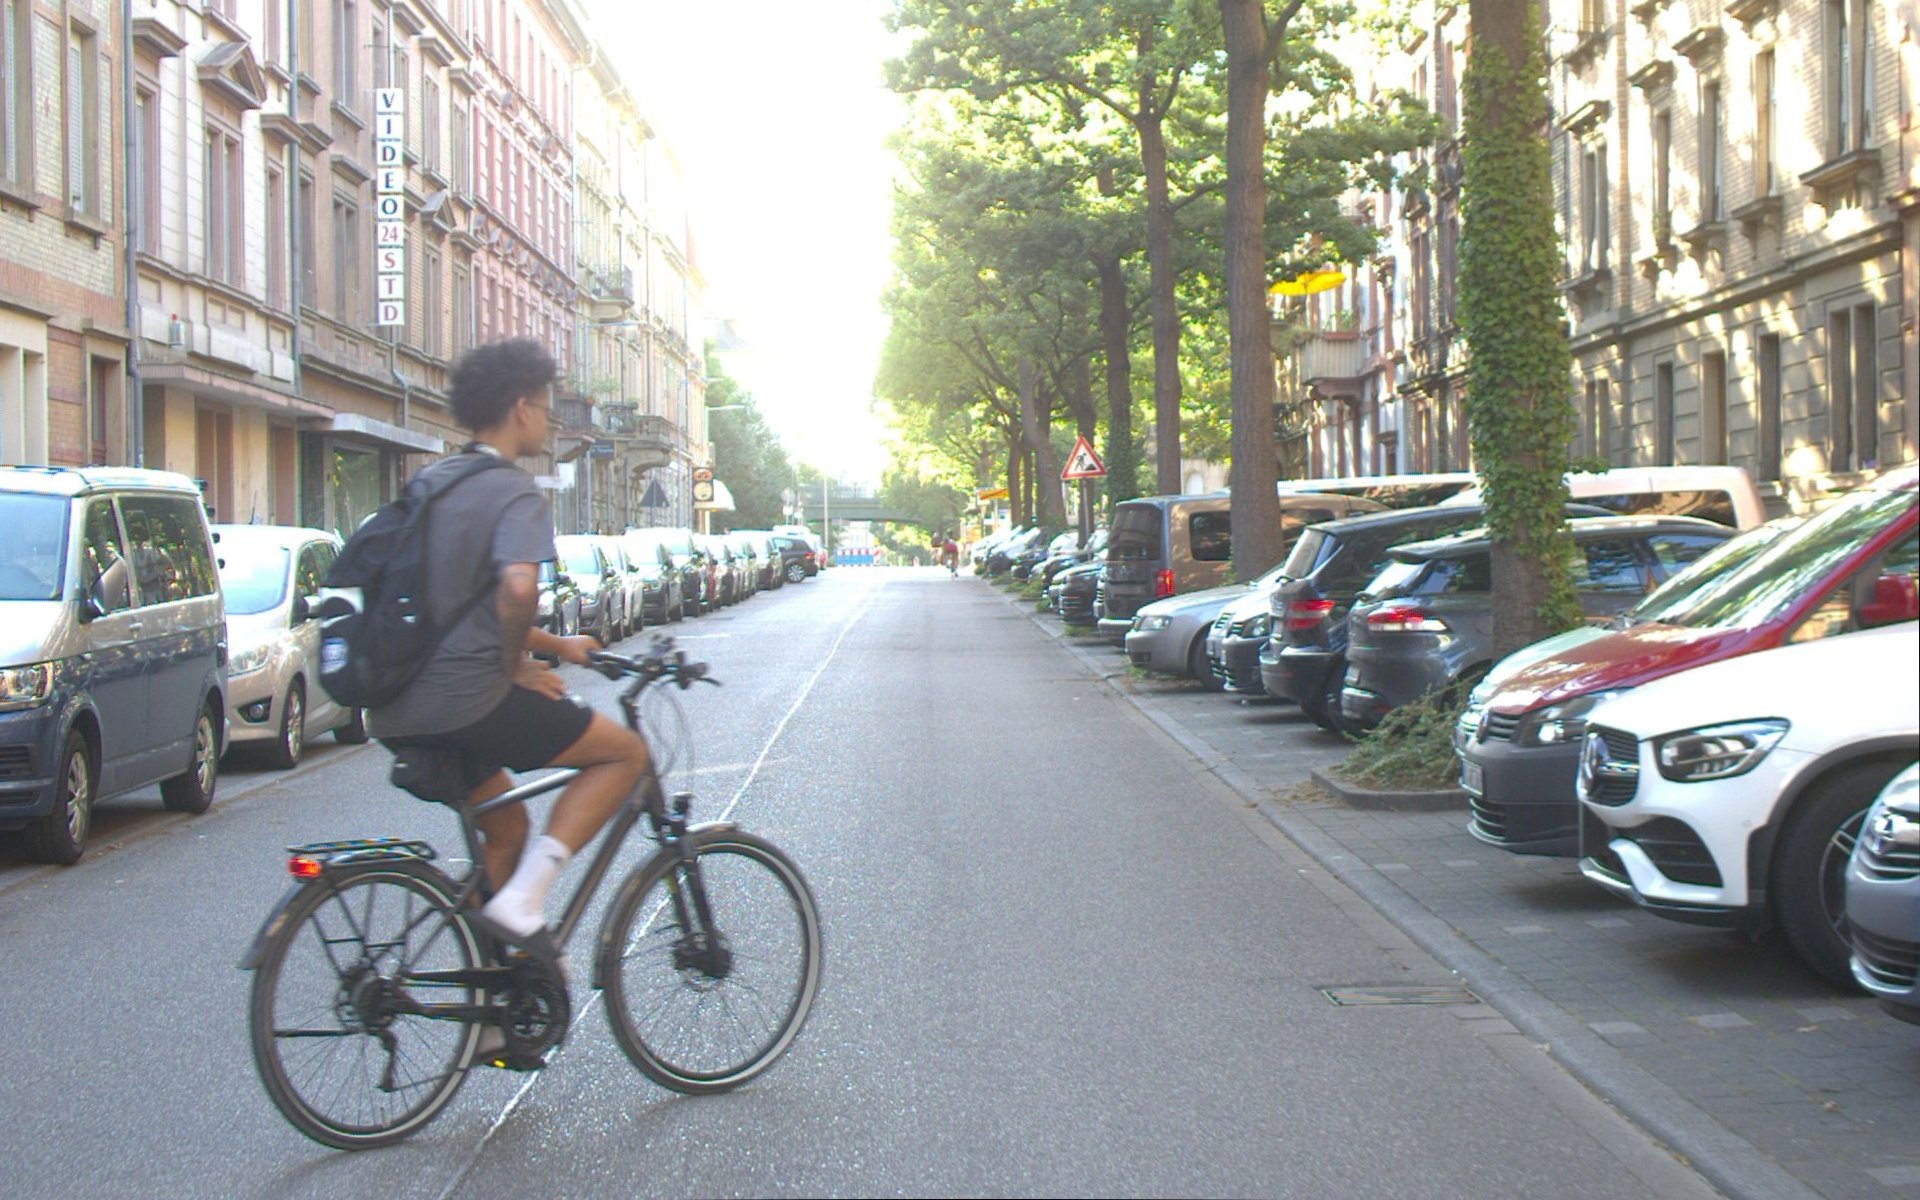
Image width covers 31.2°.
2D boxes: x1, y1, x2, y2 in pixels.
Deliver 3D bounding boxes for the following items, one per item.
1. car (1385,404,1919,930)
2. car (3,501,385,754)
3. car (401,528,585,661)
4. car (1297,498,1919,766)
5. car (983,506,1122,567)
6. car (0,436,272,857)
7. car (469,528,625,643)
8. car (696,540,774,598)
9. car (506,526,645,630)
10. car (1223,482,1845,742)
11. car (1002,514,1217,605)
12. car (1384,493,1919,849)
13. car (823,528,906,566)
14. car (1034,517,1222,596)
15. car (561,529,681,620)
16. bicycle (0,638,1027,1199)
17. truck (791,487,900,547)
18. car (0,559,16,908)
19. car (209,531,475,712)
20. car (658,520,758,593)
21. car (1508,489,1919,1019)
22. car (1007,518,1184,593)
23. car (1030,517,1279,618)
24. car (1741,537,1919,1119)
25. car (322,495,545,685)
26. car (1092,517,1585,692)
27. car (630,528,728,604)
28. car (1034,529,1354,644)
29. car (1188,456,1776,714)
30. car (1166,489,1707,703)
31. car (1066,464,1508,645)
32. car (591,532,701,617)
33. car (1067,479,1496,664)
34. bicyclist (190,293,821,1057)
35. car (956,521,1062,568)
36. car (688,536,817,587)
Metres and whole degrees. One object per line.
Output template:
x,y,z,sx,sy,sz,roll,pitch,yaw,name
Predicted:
4.161,0.145,14.155,4.443,1.917,1.850,-3,2,-3,car
-5.324,0.136,24.441,1.753,1.603,4.384,1,1,-1,car
-5.501,-0.102,40.889,1.758,1.468,4.060,-1,1,-2,car
4.236,0.175,21.532,4.010,1.462,1.734,-2,1,-1,car
2.647,-1.815,98.616,3.850,1.568,1.718,-2,1,-1,car
-5.131,0.148,18.502,1.832,1.936,5.260,1,1,-1,car
-5.600,-0.228,46.988,1.758,1.468,4.060,-1,1,-2,car
-6.242,-0.843,95.523,1.993,1.481,4.000,-1,-1,-2,car
-5.762,-0.363,51.855,1.758,1.468,4.060,-1,1,-2,car
3.963,0.070,24.193,4.010,1.601,1.734,-2,1,-1,car
2.872,-0.785,66.497,3.849,1.568,1.718,-3,1,-8,car
4.096,0.262,16.608,3.657,1.450,1.850,-3,2,-7,car
-4.842,-2.701,174.717,3.988,1.853,1.751,1,1,8,car
3.704,-0.981,76.242,3.849,1.568,1.718,-3,1,-8,car
-5.694,-0.459,58.108,1.758,1.468,4.060,-1,1,-2,car
-1.103,0.744,8.825,0.998,1.154,2.917,0,2,37,bicycle
-7.786,-5.653,234.818,7.224,3.936,2.437,1,1,-37,truck
-4.876,0.580,12.829,1.592,1.470,3.699,1,1,1,car
-5.432,0.140,30.645,1.758,1.462,4.001,1,1,-2,car
-5.494,-0.925,75.389,1.993,1.481,4.000,-1,-1,-2,car
4.214,0.369,11.577,4.344,1.551,1.850,-3,2,-1,car
3.175,-1.054,80.884,3.849,1.568,1.718,-3,1,-8,car
3.180,-0.547,56.543,3.849,1.474,1.718,-3,1,-4,car
4.334,0.458,9.167,4.010,1.429,1.794,-3,1,-1,car
-5.409,-0.147,35.836,1.758,1.835,4.530,-1,1,-2,car
3.470,0.020,31.981,4.220,1.398,1.835,-3,1,-5,car
-5.640,-0.706,69.371,1.758,1.468,4.060,-1,1,-2,car
2.975,-0.188,44.212,3.849,1.289,1.718,-3,1,-4,car
4.010,-0.135,26.900,4.220,1.770,1.835,-2,1,-2,car
4.057,-0.058,29.607,4.220,1.605,1.835,-3,1,-8,car
3.874,-0.556,41.351,5.057,1.919,1.835,-2,1,0,car
-5.707,-0.483,62.876,1.758,1.468,4.060,-1,1,-2,car
3.511,-0.327,37.615,4.220,1.788,1.835,-3,1,-20,car
-1.145,0.154,8.796,0.998,1.783,1.205,0,2,37,bicyclist
1.819,-2.081,128.923,3.850,1.568,1.718,-2,1,-1,car
-6.362,-1.165,105.852,1.997,1.481,3.993,-1,-1,32,car
